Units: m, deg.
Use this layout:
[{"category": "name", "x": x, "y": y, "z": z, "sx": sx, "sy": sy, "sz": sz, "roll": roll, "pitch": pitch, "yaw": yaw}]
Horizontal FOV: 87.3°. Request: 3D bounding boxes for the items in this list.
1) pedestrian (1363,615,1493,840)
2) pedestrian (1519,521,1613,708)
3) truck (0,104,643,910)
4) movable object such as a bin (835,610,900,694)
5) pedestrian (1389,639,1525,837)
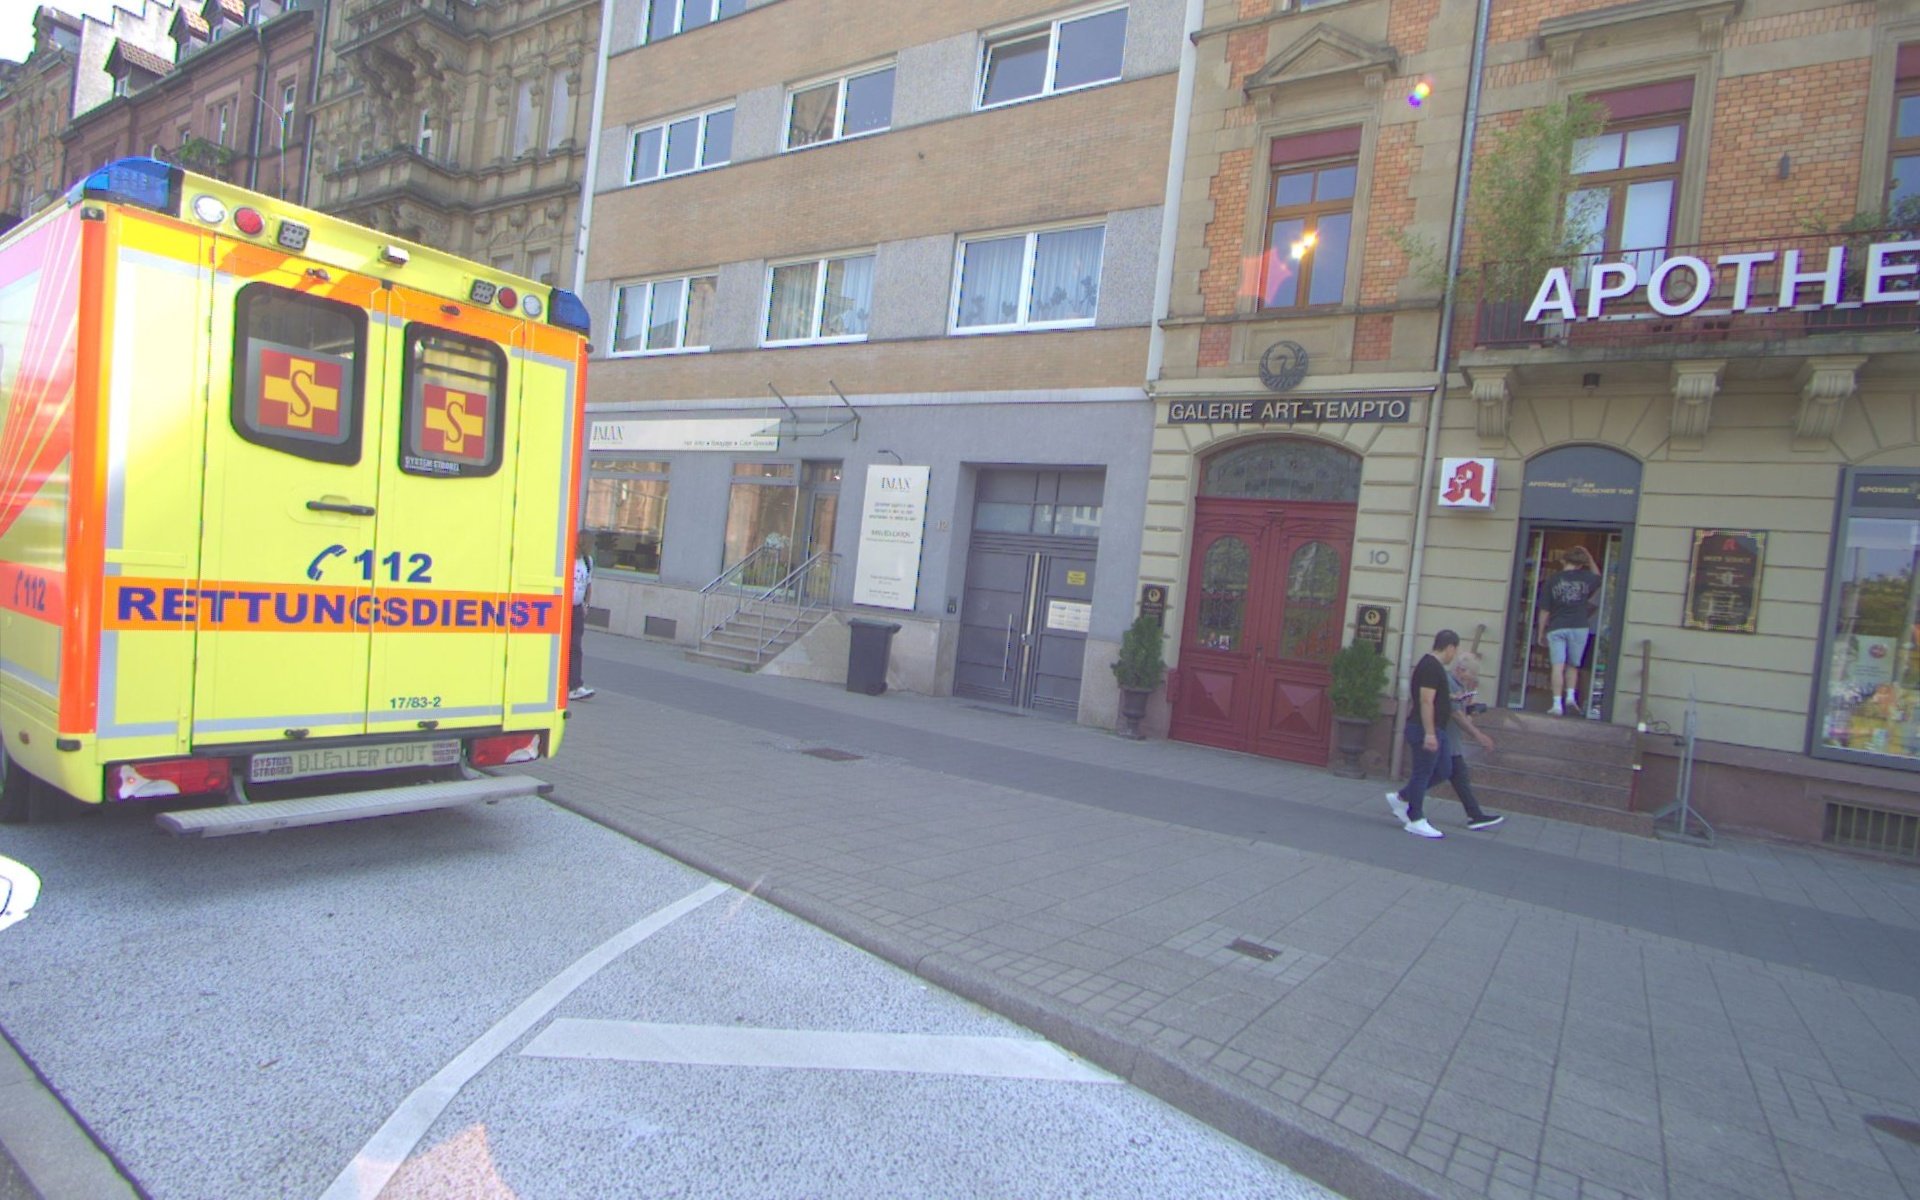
[{"category": "pedestrian", "x": 3.814, "y": 1.006, "z": 8.194, "sx": 0.697, "sy": 1.673, "sz": 0.643, "roll": 7, "pitch": 2, "yaw": 35}, {"category": "pedestrian", "x": 6.445, "y": 0.160, "z": 10.691, "sx": 0.651, "sy": 1.886, "sz": 0.737, "roll": 7, "pitch": 1, "yaw": 33}, {"category": "truck", "x": -4.952, "y": -0.513, "z": 6.325, "sx": 6.242, "sy": 2.807, "sz": 2.325, "roll": 6, "pitch": 2, "yaw": 37}, {"category": "movable object such as a bin", "x": -1.337, "y": 0.745, "z": 14.642, "sx": 0.715, "sy": 1.119, "sz": 0.647, "roll": 6, "pitch": 2, "yaw": 8}, {"category": "pedestrian", "x": 4.267, "y": 1.150, "z": 8.642, "sx": 0.829, "sy": 1.529, "sz": 0.556, "roll": 7, "pitch": 2, "yaw": 35}]
